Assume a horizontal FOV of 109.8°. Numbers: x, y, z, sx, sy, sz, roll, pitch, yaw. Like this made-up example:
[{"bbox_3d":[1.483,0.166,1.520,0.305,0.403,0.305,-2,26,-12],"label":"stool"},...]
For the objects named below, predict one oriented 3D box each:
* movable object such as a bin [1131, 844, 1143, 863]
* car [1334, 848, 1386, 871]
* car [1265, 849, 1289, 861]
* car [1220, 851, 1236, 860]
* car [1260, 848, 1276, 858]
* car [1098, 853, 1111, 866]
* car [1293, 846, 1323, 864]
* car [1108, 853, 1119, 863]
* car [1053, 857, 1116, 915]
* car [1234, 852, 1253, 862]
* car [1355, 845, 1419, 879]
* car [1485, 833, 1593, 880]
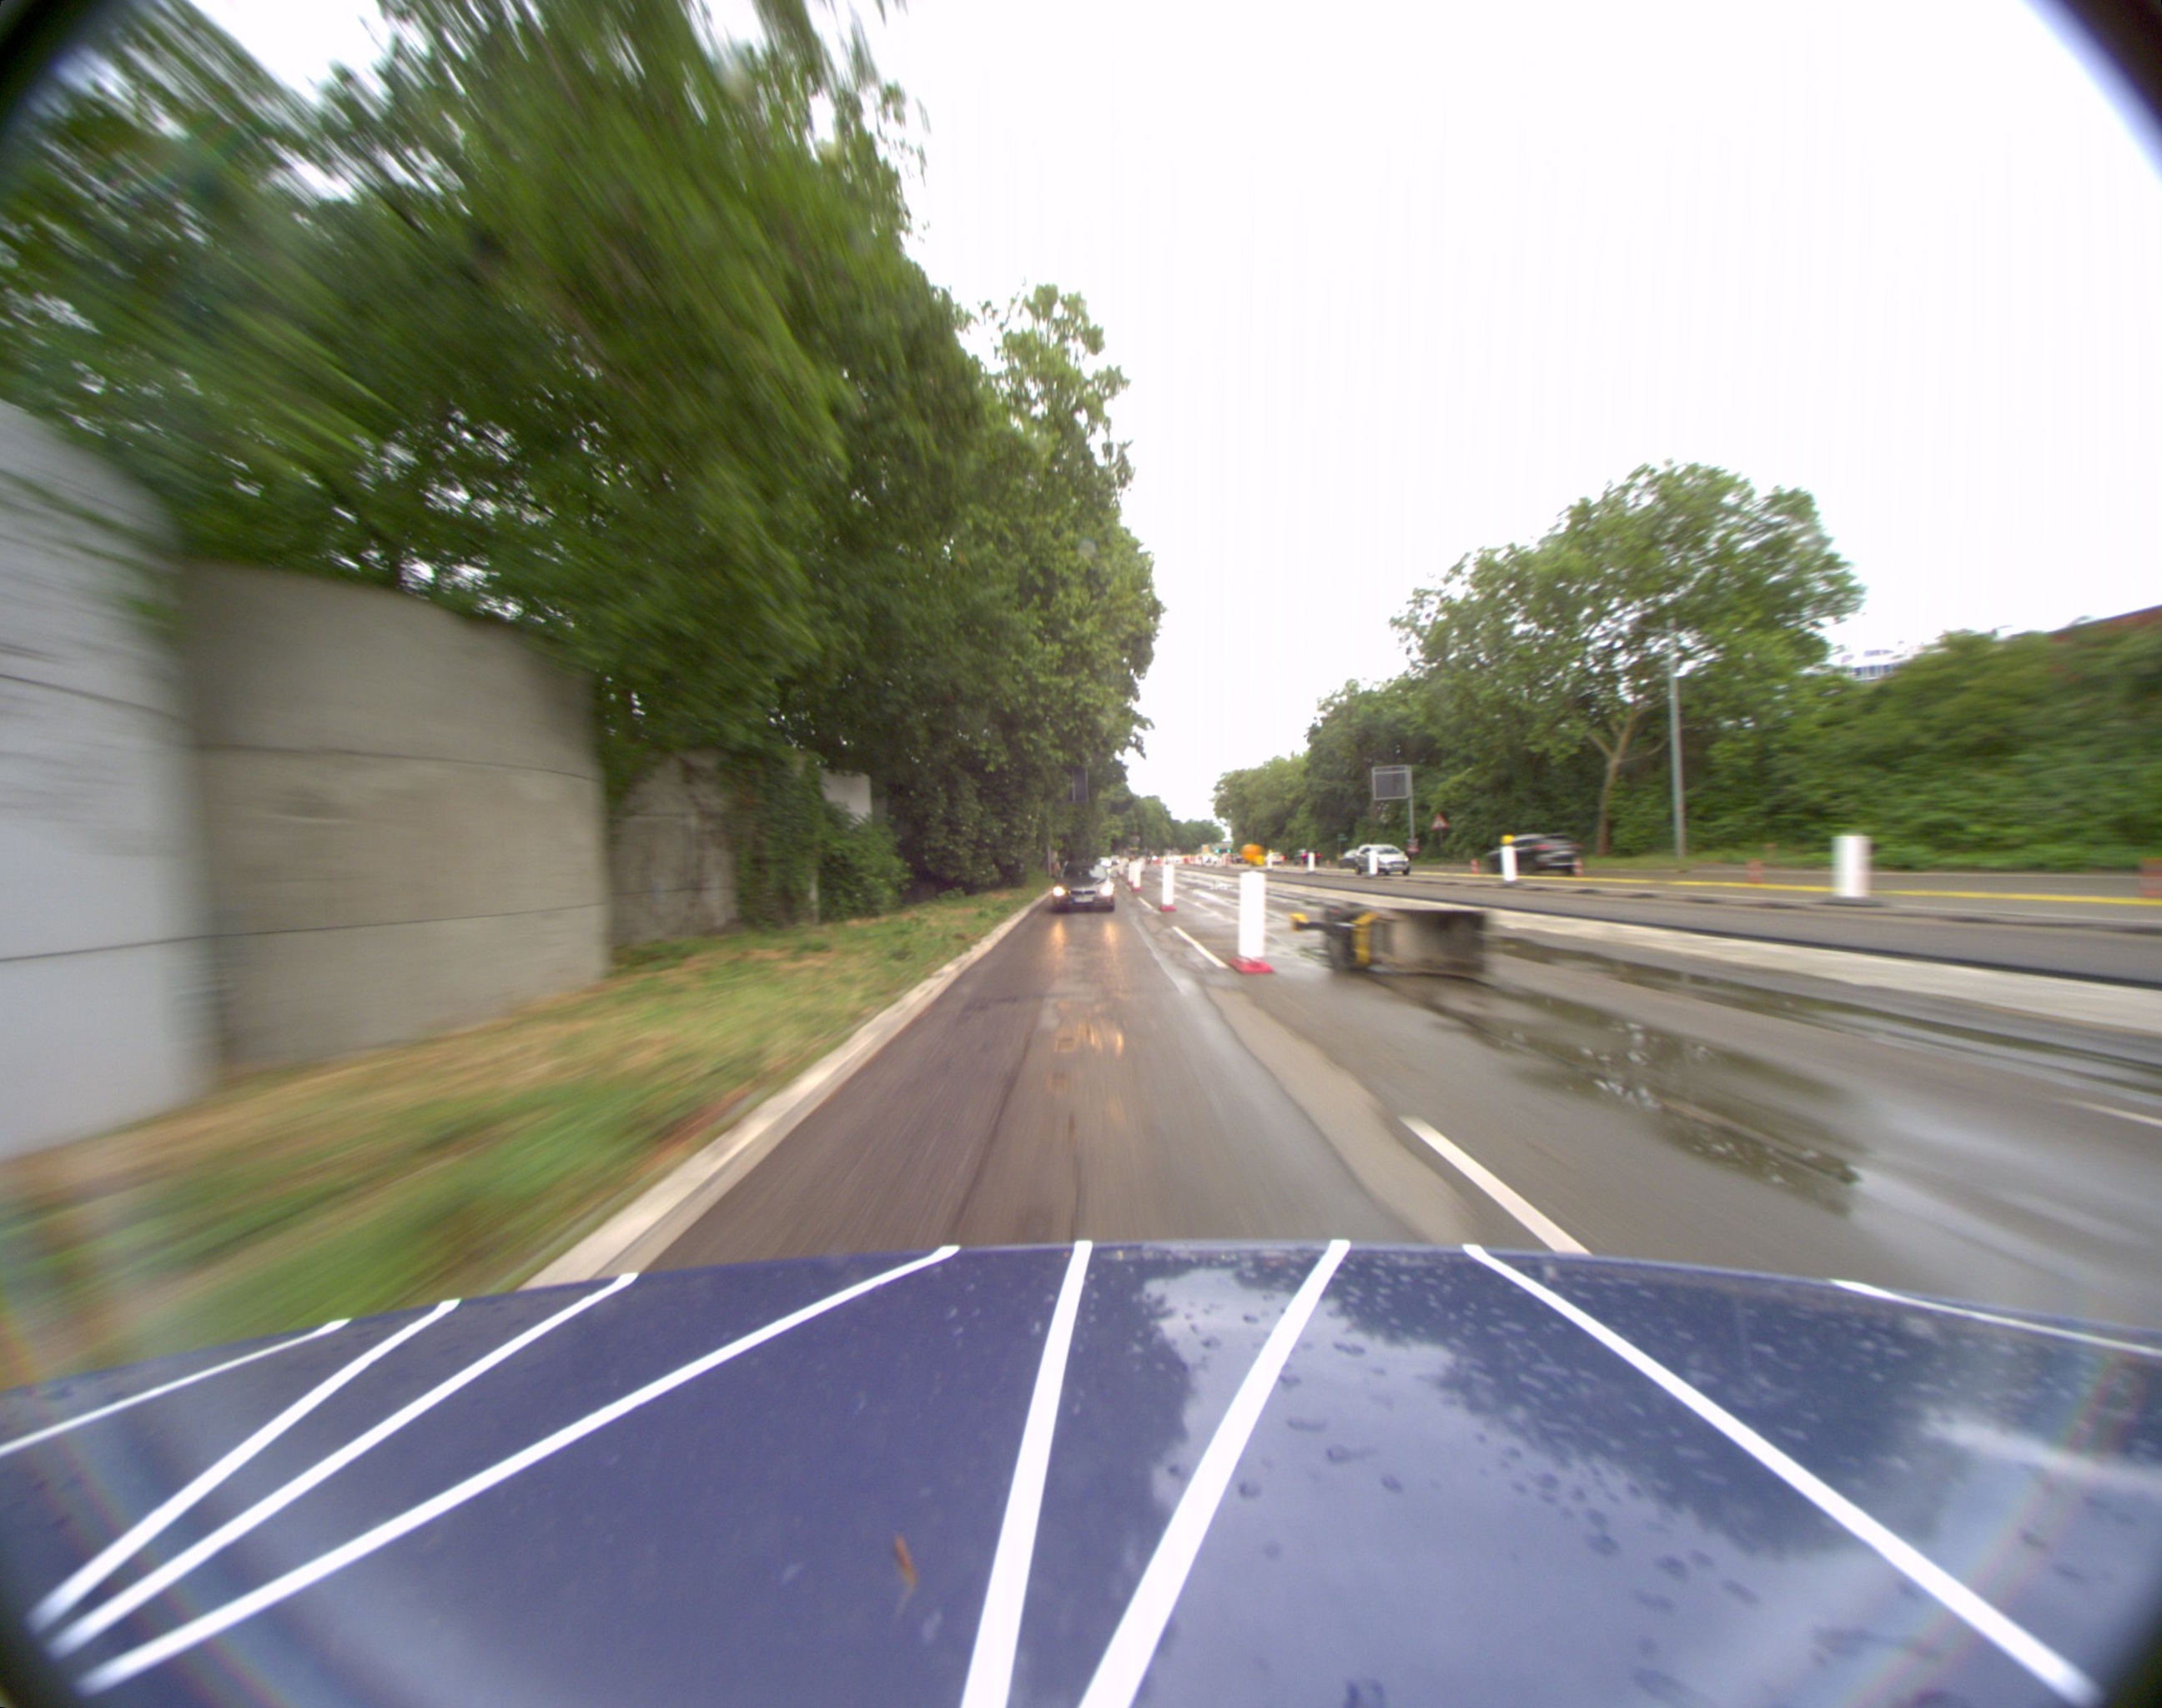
[{"bbox_3d":[9.336,-0.077,126.193,1.807,2.968,5.247,-1,0,6],"label":"movable object such as a bin"},{"bbox_3d":[19.377,0.347,52.971,1.765,1.475,4.900,-2,0,0],"label":"car"},{"bbox_3d":[24.185,0.156,94.012,1.822,1.411,4.603,-3,0,1],"label":"car"},{"bbox_3d":[23.180,0.223,119.847,1.822,1.347,4.390,-1,0,1],"label":"car"},{"bbox_3d":[30.497,-0.175,123.865,1.670,1.532,4.158,0,0,3],"label":"car"},{"bbox_3d":[3.225,0.736,104.508,1.707,1.681,4.472,-1,1,3],"label":"car"},{"bbox_3d":[22.934,0.123,76.994,1.657,1.675,4.533,-3,0,1],"label":"car"},{"bbox_3d":[5.845,0.622,136.032,1.707,1.681,4.473,-1,1,5],"label":"car"},{"bbox_3d":[0.107,0.890,22.881,1.701,1.477,3.999,-1,1,0],"label":"car"},{"bbox_3d":[22.377,0.351,104.900,1.822,1.347,4.205,-1,0,1],"label":"car"},{"bbox_3d":[15.625,0.375,39.018,1.794,1.574,3.861,-2,0,1],"label":"car"},{"bbox_3d":[18.702,0.080,31.302,1.739,1.712,4.493,-3,0,0],"label":"car"}]
